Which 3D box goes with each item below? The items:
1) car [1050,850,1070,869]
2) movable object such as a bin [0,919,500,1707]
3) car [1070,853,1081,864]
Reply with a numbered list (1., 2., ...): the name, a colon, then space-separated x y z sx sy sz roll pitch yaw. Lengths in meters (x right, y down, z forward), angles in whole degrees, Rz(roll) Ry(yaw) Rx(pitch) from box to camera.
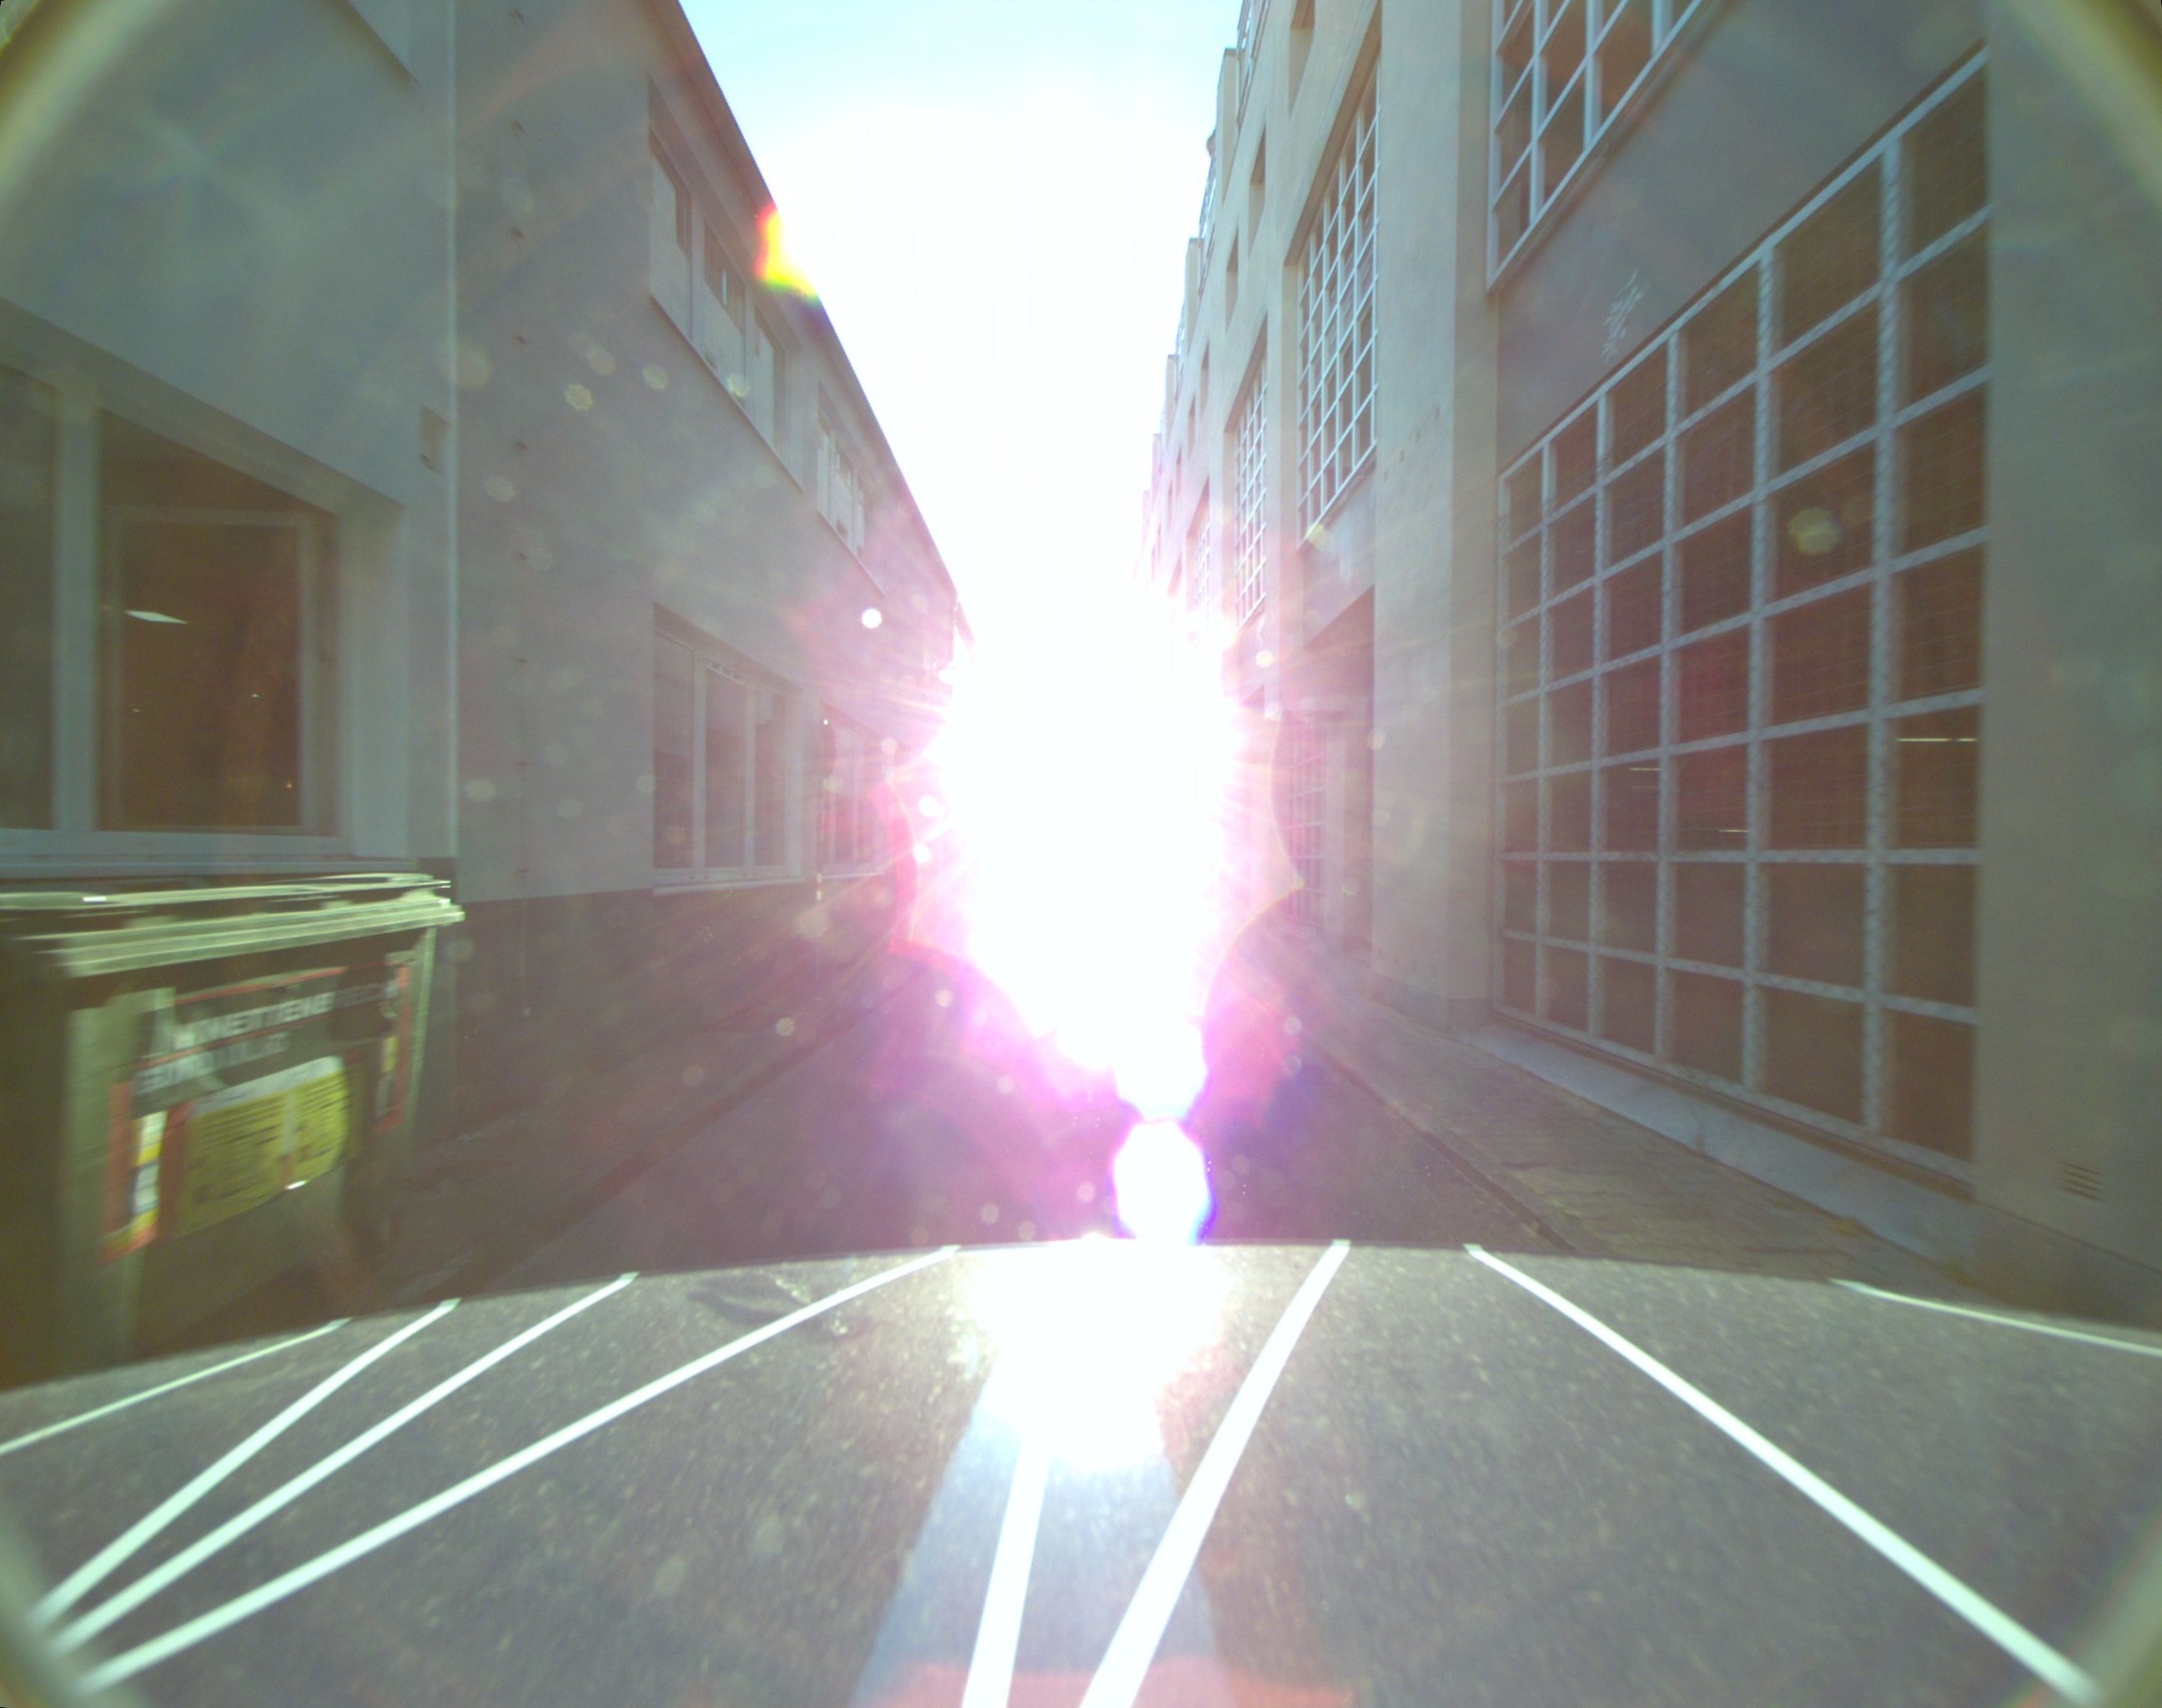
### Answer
1. car: -2.008 0.506 73.892 1.764 1.756 4.749 -2 0 0
2. movable object such as a bin: -2.526 0.929 2.037 0.940 1.359 1.341 2 1 -6
3. car: -0.994 0.807 139.701 1.999 1.805 3.999 -2 0 -1
